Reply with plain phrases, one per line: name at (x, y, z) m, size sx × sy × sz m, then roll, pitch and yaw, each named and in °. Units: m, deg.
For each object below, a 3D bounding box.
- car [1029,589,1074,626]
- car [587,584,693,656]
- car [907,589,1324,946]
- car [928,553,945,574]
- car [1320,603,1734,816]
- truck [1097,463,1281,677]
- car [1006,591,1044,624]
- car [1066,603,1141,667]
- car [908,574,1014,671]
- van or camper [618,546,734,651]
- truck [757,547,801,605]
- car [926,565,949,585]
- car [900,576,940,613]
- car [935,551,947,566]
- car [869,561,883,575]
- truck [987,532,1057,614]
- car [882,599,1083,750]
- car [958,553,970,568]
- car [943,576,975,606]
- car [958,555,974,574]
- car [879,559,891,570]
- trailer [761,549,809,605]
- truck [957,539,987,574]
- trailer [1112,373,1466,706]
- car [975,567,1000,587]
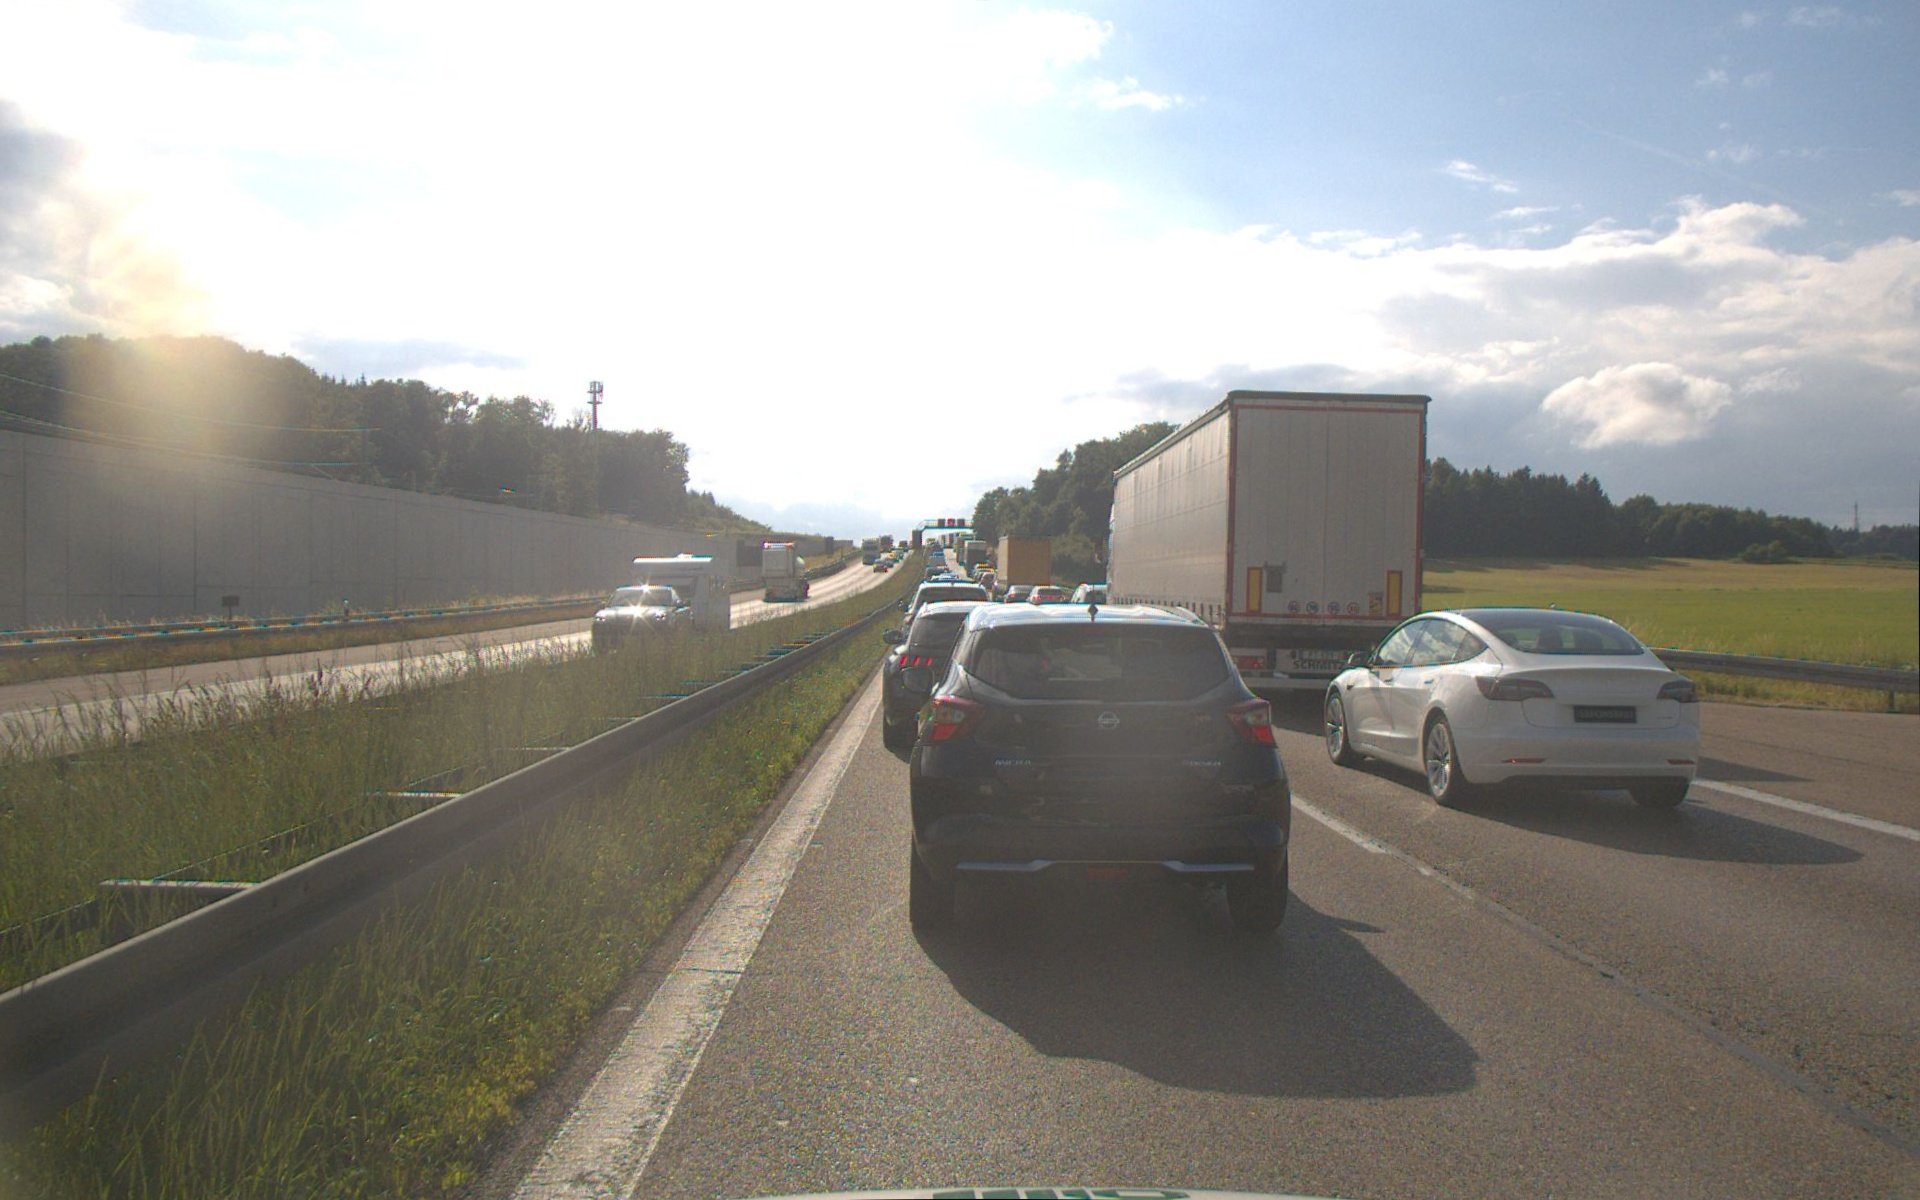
car at (4.271, 0.329, 77.954) m, size 1.835 × 1.673 × 4.232 m, roll 0°, pitch 1°, yaw -1°
car at (-7.870, 0.465, 41.038) m, size 1.871 × 1.701 × 4.361 m, roll 0°, pitch 0°, yaw -1°
car at (0.624, 0.693, 8.987) m, size 1.737 × 1.476 × 4.231 m, roll 0°, pitch 0°, yaw -1°
car at (-2.594, -4.031, 181.208) m, size 1.835 × 2.196 × 5.211 m, roll 0°, pitch 3°, yaw -1°
car at (4.363, 0.758, 13.528) m, size 1.752 × 1.418 × 4.435 m, roll 0°, pitch 0°, yaw -2°
truck at (4.642, -0.547, 34.511) m, size 3.069 × 4.086 × 5.163 m, roll 1°, pitch -1°, yaw 0°
car at (3.408, 0.380, 87.315) m, size 1.835 × 1.673 × 4.232 m, roll 0°, pitch 1°, yaw -1°
car at (3.804, 0.893, 44.529) m, size 1.663 × 1.639 × 4.437 m, roll 0°, pitch 0°, yaw 0°
car at (-0.009, 0.393, 30.850) m, size 1.835 × 1.673 × 4.231 m, roll 0°, pitch 0°, yaw -1°
van or camper at (-7.908, -0.039, 46.831) m, size 2.207 × 2.751 × 7.168 m, roll 0°, pitch 0°, yaw -1°
truck at (-12.816, -1.686, 117.575) m, size 2.530 × 3.991 × 5.721 m, roll -1°, pitch 0°, yaw -1°
car at (-1.858, -2.098, 137.728) m, size 1.835 × 1.673 × 4.231 m, roll 0°, pitch 2°, yaw -2°
car at (-1.883, -0.300, 78.135) m, size 1.835 × 1.673 × 4.232 m, roll 0°, pitch 1°, yaw -1°
car at (-2.906, -6.307, 251.910) m, size 1.835 × 2.196 × 5.211 m, roll 0°, pitch 3°, yaw -1°
car at (-11.280, -4.302, 221.439) m, size 1.744 × 1.767 × 4.101 m, roll 0°, pitch 0°, yaw -1°
truck at (3.652, -1.505, 100.814) m, size 3.230 × 4.657 × 12.434 m, roll 1°, pitch 0°, yaw -2°
car at (0.184, 0.685, 17.271) m, size 1.835 × 1.381 × 4.231 m, roll 0°, pitch 0°, yaw -1°
car at (0.586, -6.114, 255.248) m, size 1.835 × 2.196 × 5.211 m, roll 0°, pitch 3°, yaw -1°
car at (-0.085, -0.569, 97.091) m, size 1.835 × 1.673 × 4.232 m, roll 0°, pitch 2°, yaw -1°
car at (0.720, -4.278, 199.965) m, size 1.835 × 2.196 × 5.211 m, roll 0°, pitch 3°, yaw -1°
car at (-11.023, -5.218, 243.722) m, size 1.663 × 1.525 × 4.426 m, roll 0°, pitch 0°, yaw -1°
trailer at (-12.932, -1.640, 122.873) m, size 2.536 × 3.970 × 10.862 m, roll -1°, pitch 0°, yaw -1°
truck at (1.593, -5.899, 225.859) m, size 3.395 × 4.656 × 12.437 m, roll 1°, pitch 1°, yaw -2°
trailer at (4.685, -0.650, 27.122) m, size 3.067 × 4.081 × 13.364 m, roll 1°, pitch -1°, yaw 0°
car at (2.339, -1.979, 143.149) m, size 1.836 × 1.673 × 4.229 m, roll 0°, pitch 2°, yaw -4°
